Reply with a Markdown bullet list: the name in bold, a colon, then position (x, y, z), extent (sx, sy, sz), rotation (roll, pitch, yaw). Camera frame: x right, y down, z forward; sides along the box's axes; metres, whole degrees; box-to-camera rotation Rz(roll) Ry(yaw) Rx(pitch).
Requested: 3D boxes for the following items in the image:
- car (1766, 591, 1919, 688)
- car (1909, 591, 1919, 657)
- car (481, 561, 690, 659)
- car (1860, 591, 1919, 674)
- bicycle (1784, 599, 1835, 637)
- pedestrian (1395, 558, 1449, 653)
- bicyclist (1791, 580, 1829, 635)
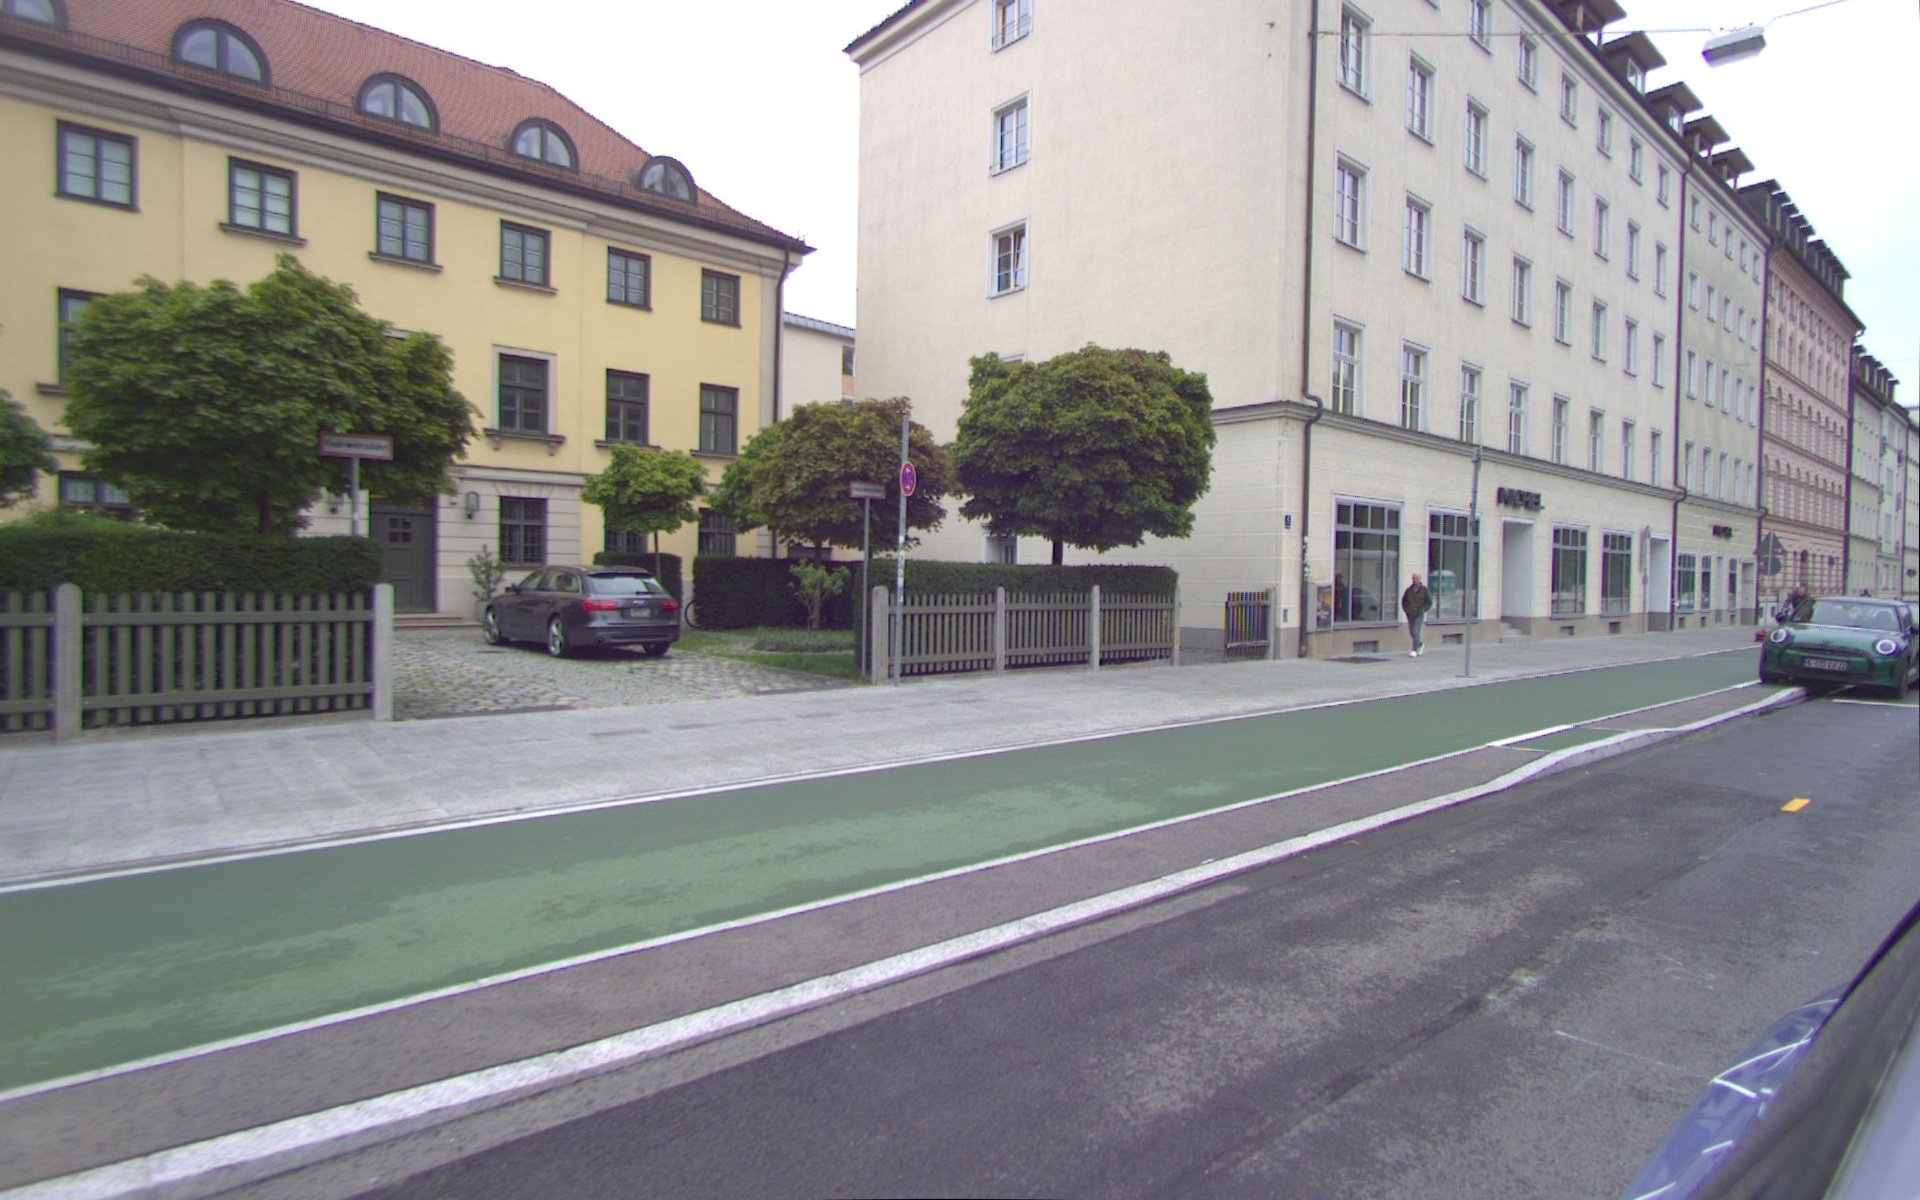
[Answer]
- **car**: position (14.332, 0.533, 16.040), extent (3.930, 1.337, 1.738), rotation (0, 1, -41)
- **car**: position (23.139, 0.535, 23.104), extent (3.930, 1.451, 1.738), rotation (0, 1, -41)
- **car**: position (-6.400, 0.085, 17.039), extent (1.824, 1.435, 4.299), rotation (0, 2, -43)
- **car**: position (18.443, 0.565, 19.051), extent (3.930, 1.451, 1.738), rotation (0, 1, -41)
- **bicycle**: position (24.674, 0.515, 29.380), extent (2.487, 1.045, 0.750), rotation (0, 0, -41)
- **pedestrian**: position (9.498, 0.095, 20.816), extent (0.811, 1.897, 0.655), rotation (0, 3, -41)
- **bicyclist**: position (24.654, 0.202, 29.363), extent (0.843, 1.572, 0.723), rotation (0, 0, -41)
